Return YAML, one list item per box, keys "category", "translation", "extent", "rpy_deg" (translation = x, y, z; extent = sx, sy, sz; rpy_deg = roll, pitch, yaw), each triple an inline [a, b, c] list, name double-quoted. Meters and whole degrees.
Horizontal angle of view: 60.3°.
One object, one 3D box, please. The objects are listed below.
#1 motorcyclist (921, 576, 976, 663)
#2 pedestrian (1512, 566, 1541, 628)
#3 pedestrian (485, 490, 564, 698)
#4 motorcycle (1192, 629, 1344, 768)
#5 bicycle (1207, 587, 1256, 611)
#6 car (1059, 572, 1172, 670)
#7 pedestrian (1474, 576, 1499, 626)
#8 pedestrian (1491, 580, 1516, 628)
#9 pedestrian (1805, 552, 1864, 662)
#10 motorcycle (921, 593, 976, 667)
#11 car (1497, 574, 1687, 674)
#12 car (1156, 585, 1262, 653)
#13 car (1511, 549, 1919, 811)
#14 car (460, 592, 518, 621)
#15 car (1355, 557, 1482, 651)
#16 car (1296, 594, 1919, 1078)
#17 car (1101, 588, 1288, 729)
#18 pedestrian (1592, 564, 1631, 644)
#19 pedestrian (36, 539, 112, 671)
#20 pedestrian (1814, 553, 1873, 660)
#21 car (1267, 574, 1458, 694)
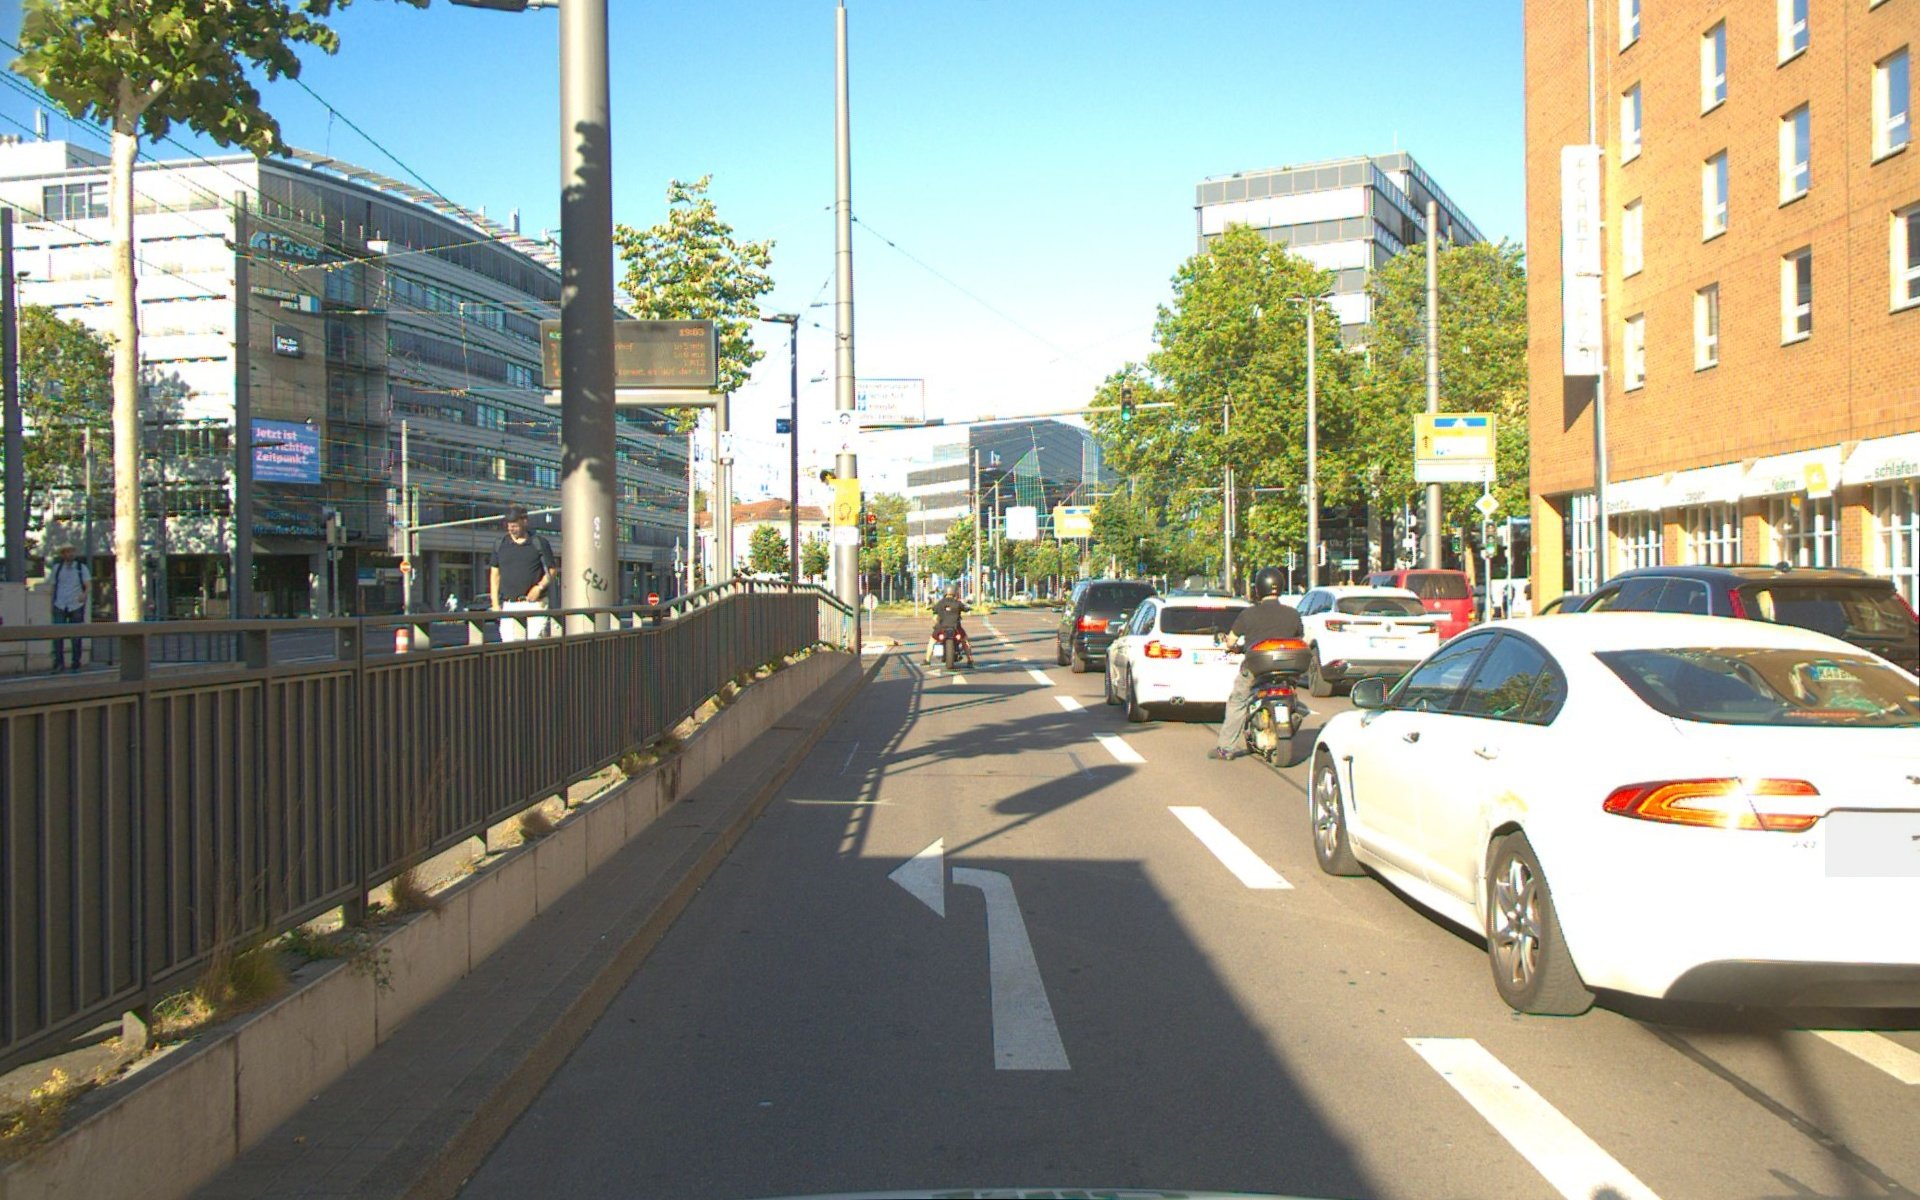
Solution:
- category: "motorcyclist"
  translation: [-0.219, 0.372, 31.973]
  extent: [0.998, 1.631, 1.148]
  rpy_deg: [1, 0, 0]
- category: "pedestrian"
  translation: [17.154, -0.101, 50.084]
  extent: [0.594, 1.853, 0.748]
  rpy_deg: [-1, 0, -1]
- category: "pedestrian"
  translation: [-3.631, -0.051, 13.809]
  extent: [0.509, 1.698, 0.550]
  rpy_deg: [0, 0, 0]
- category: "motorcycle"
  translation: [2.738, 0.838, 15.009]
  extent: [0.820, 1.081, 2.552]
  rpy_deg: [-1, 0, -2]
- category: "bicycle"
  translation: [15.045, -0.056, 91.612]
  extent: [2.636, 1.266, 0.528]
  rpy_deg: [-1, 0, 23]
- category: "car"
  translation: [2.884, 0.364, 31.484]
  extent: [1.761, 1.735, 4.062]
  rpy_deg: [0, 0, 0]
- category: "pedestrian"
  translation: [17.983, 0.022, 56.507]
  extent: [0.670, 1.690, 0.519]
  rpy_deg: [1, 0, 0]
- category: "pedestrian"
  translation: [19.302, 0.140, 58.791]
  extent: [0.683, 1.690, 0.519]
  rpy_deg: [1, 0, 0]
- category: "pedestrian"
  translation: [15.103, 0.119, 28.576]
  extent: [0.594, 1.853, 0.748]
  rpy_deg: [-1, 0, -1]
- category: "motorcycle"
  translation: [-0.216, 0.550, 31.861]
  extent: [0.998, 1.335, 2.914]
  rpy_deg: [1, 0, 0]
- category: "car"
  translation: [10.687, 0.365, 28.268]
  extent: [1.633, 1.557, 3.999]
  rpy_deg: [-1, 0, -1]
- category: "car"
  translation: [5.845, 0.408, 39.298]
  extent: [1.813, 1.524, 4.378]
  rpy_deg: [0, 0, -1]
- category: "car"
  translation: [6.339, 0.547, 13.761]
  extent: [1.934, 1.790, 4.632]
  rpy_deg: [1, 0, 0]
- category: "car"
  translation: [-24.945, 0.318, 87.694]
  extent: [1.953, 1.489, 3.999]
  rpy_deg: [0, 0, -1]
- category: "car"
  translation: [10.384, 0.077, 37.764]
  extent: [1.822, 1.995, 4.000]
  rpy_deg: [-1, 0, 1]
- category: "car"
  translation: [2.903, 0.718, 7.431]
  extent: [1.744, 1.439, 4.818]
  rpy_deg: [1, 0, -1]
- category: "car"
  translation: [2.782, 0.631, 20.481]
  extent: [1.658, 1.523, 4.408]
  rpy_deg: [1, 0, 0]
- category: "pedestrian"
  translation: [15.328, 0.084, 38.914]
  extent: [0.594, 1.853, 0.748]
  rpy_deg: [-1, 0, -1]
- category: "pedestrian"
  translation: [-12.706, 0.068, 23.748]
  extent: [0.601, 1.849, 0.897]
  rpy_deg: [0, 0, 0]
- category: "pedestrian"
  translation: [15.629, 0.110, 29.267]
  extent: [0.594, 1.853, 0.748]
  rpy_deg: [-1, 0, -1]
- category: "car"
  translation: [5.999, 0.453, 25.174]
  extent: [1.813, 1.668, 4.378]
  rpy_deg: [0, 0, -1]
